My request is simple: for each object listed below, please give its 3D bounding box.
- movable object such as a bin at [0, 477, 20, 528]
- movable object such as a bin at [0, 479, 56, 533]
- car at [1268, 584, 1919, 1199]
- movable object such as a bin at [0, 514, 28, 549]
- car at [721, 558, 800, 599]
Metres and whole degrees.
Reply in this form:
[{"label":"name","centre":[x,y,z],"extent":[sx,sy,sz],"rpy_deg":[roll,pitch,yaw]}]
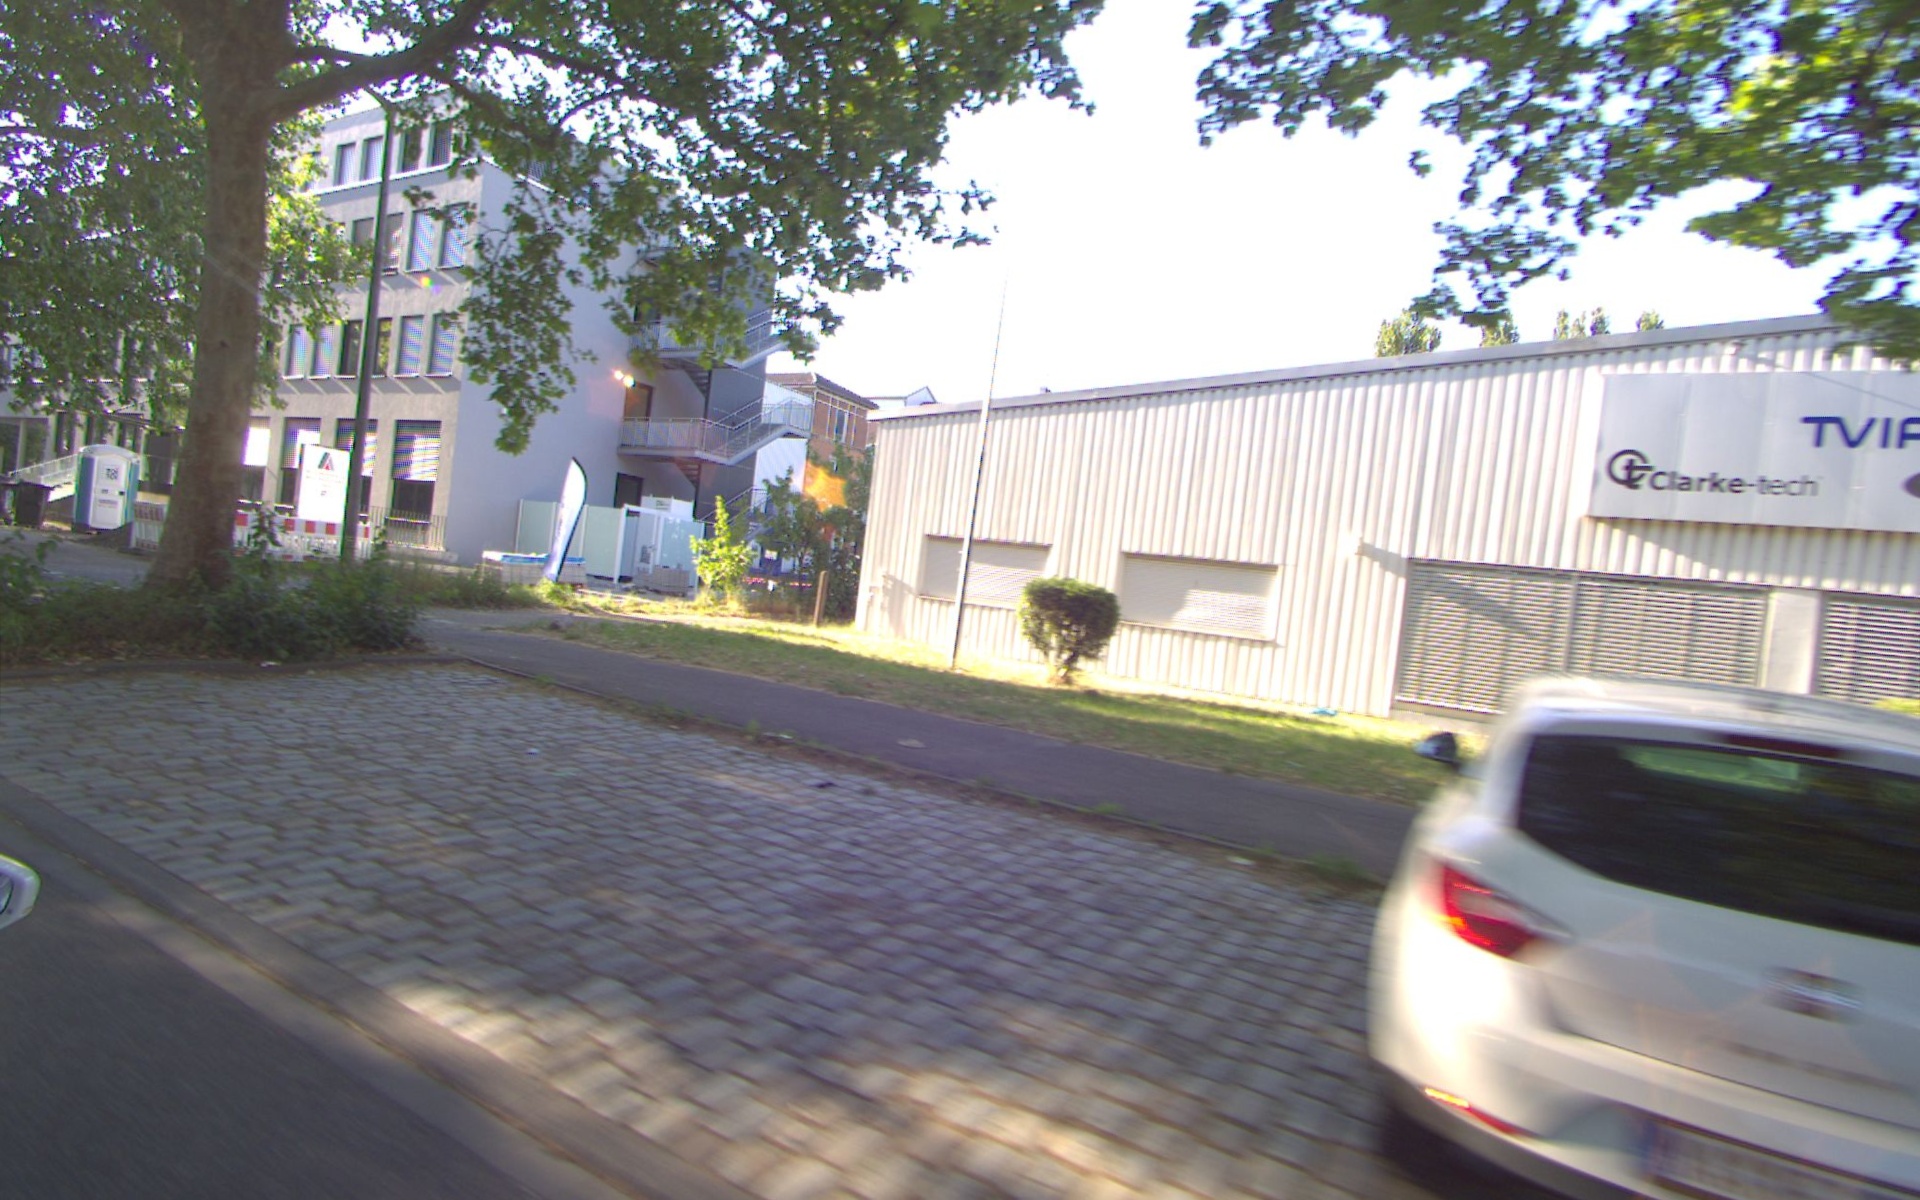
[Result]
[{"label":"movable object such as a bin","centre":[-27.394,-2.816,28.399],"extent":[1.594,1.366,0.749],"rpy_deg":[6,-1,32]},{"label":"movable object such as a bin","centre":[-25.041,-2.518,26.909],"extent":[1.585,1.278,0.749],"rpy_deg":[6,-1,32]},{"label":"car","centre":[2.487,0.873,3.609],"extent":[1.639,1.533,3.936],"rpy_deg":[6,1,31]},{"label":"movable object such as a bin","centre":[-26.428,-1.917,27.984],"extent":[0.624,0.885,0.493],"rpy_deg":[6,-1,30]},{"label":"car","centre":[-11.352,-1.213,57.185],"extent":[3.933,1.769,1.998],"rpy_deg":[6,-2,30]}]
